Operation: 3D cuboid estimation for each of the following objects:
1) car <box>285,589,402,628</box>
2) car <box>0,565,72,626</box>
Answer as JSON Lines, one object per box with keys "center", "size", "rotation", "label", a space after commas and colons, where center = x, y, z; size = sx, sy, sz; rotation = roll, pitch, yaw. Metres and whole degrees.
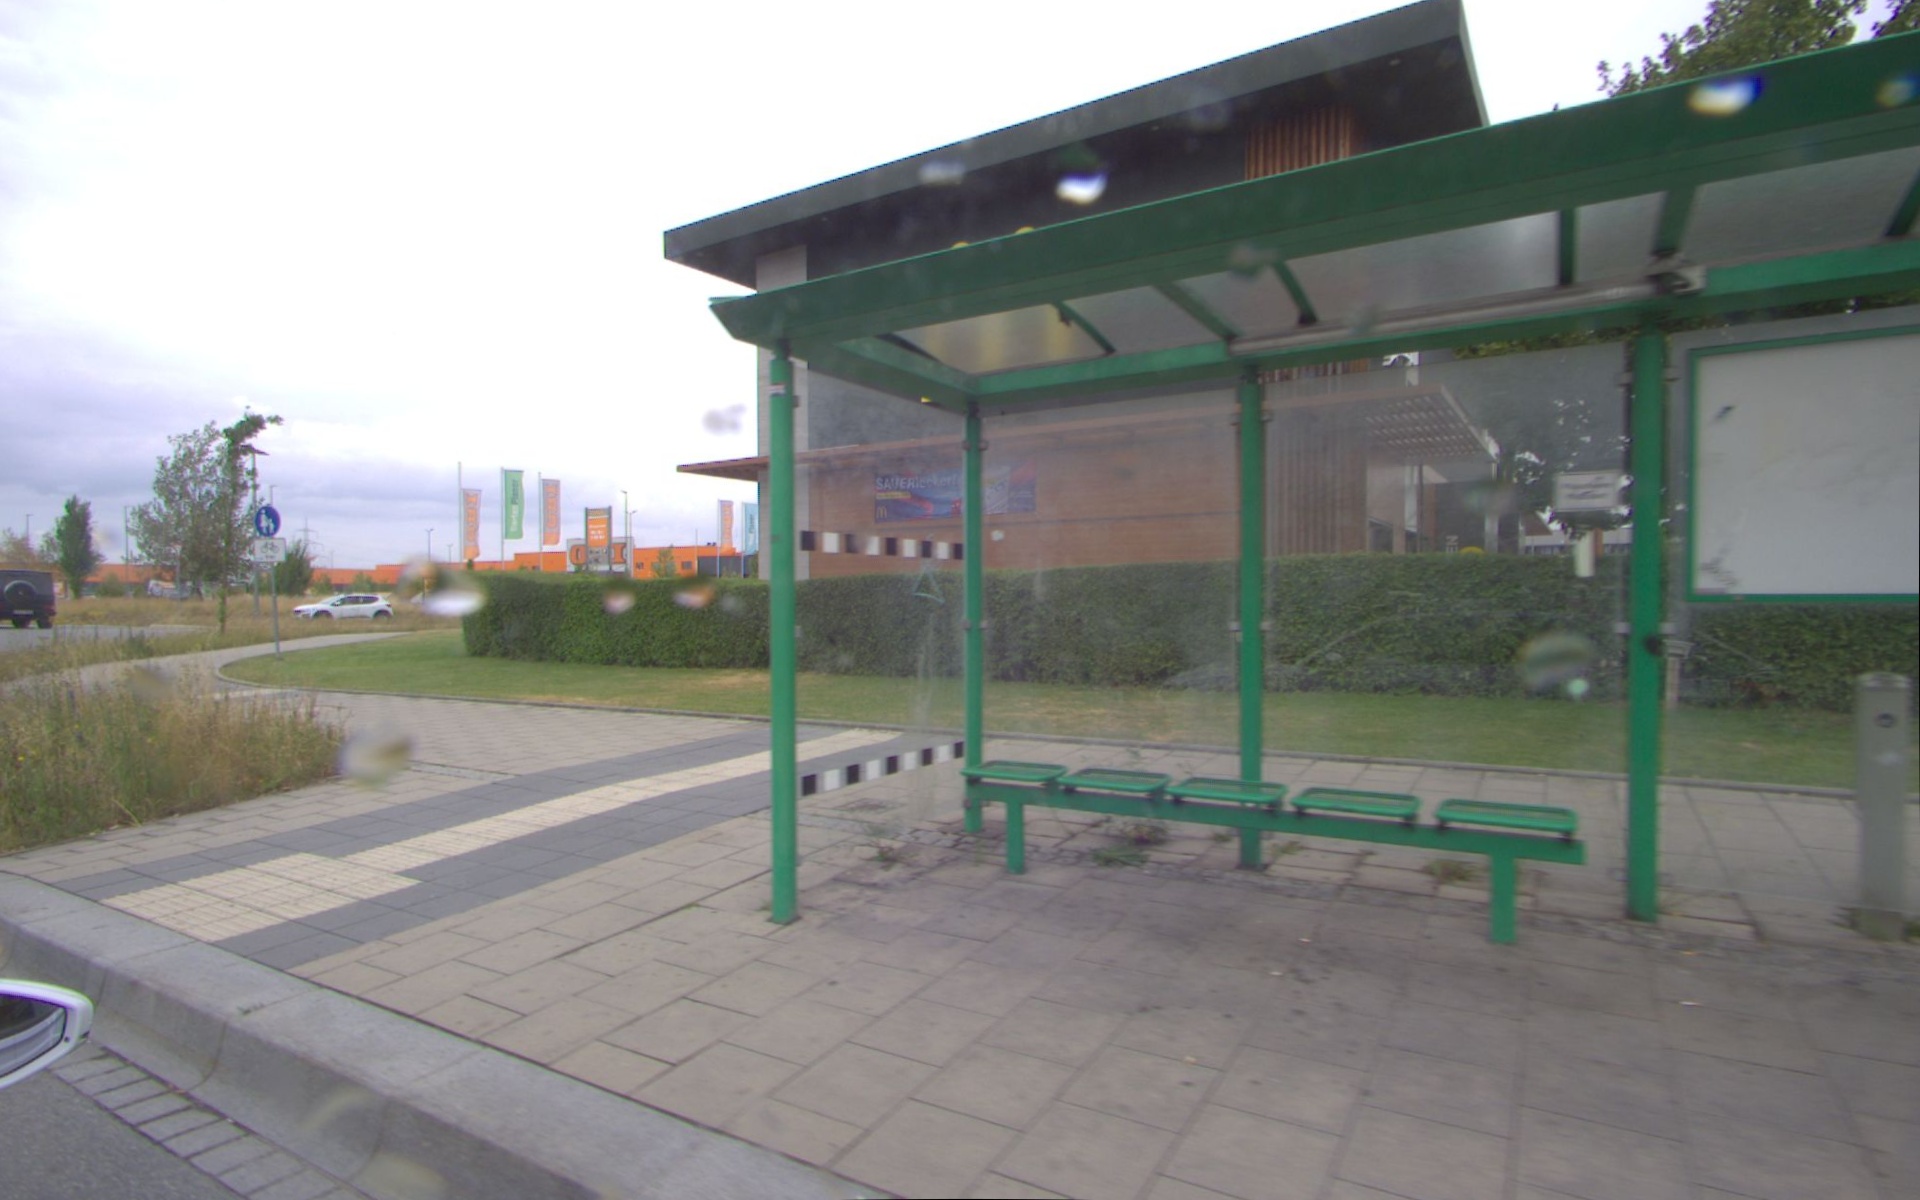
{"center": [-28.741, 0.358, 46.829], "size": [1.844, 1.671, 4.313], "rotation": [3, 2, 34], "label": "car"}
{"center": [-32.722, -0.216, 34.612], "size": [4.710, 1.913, 2.070], "rotation": [3, 3, 36], "label": "car"}
